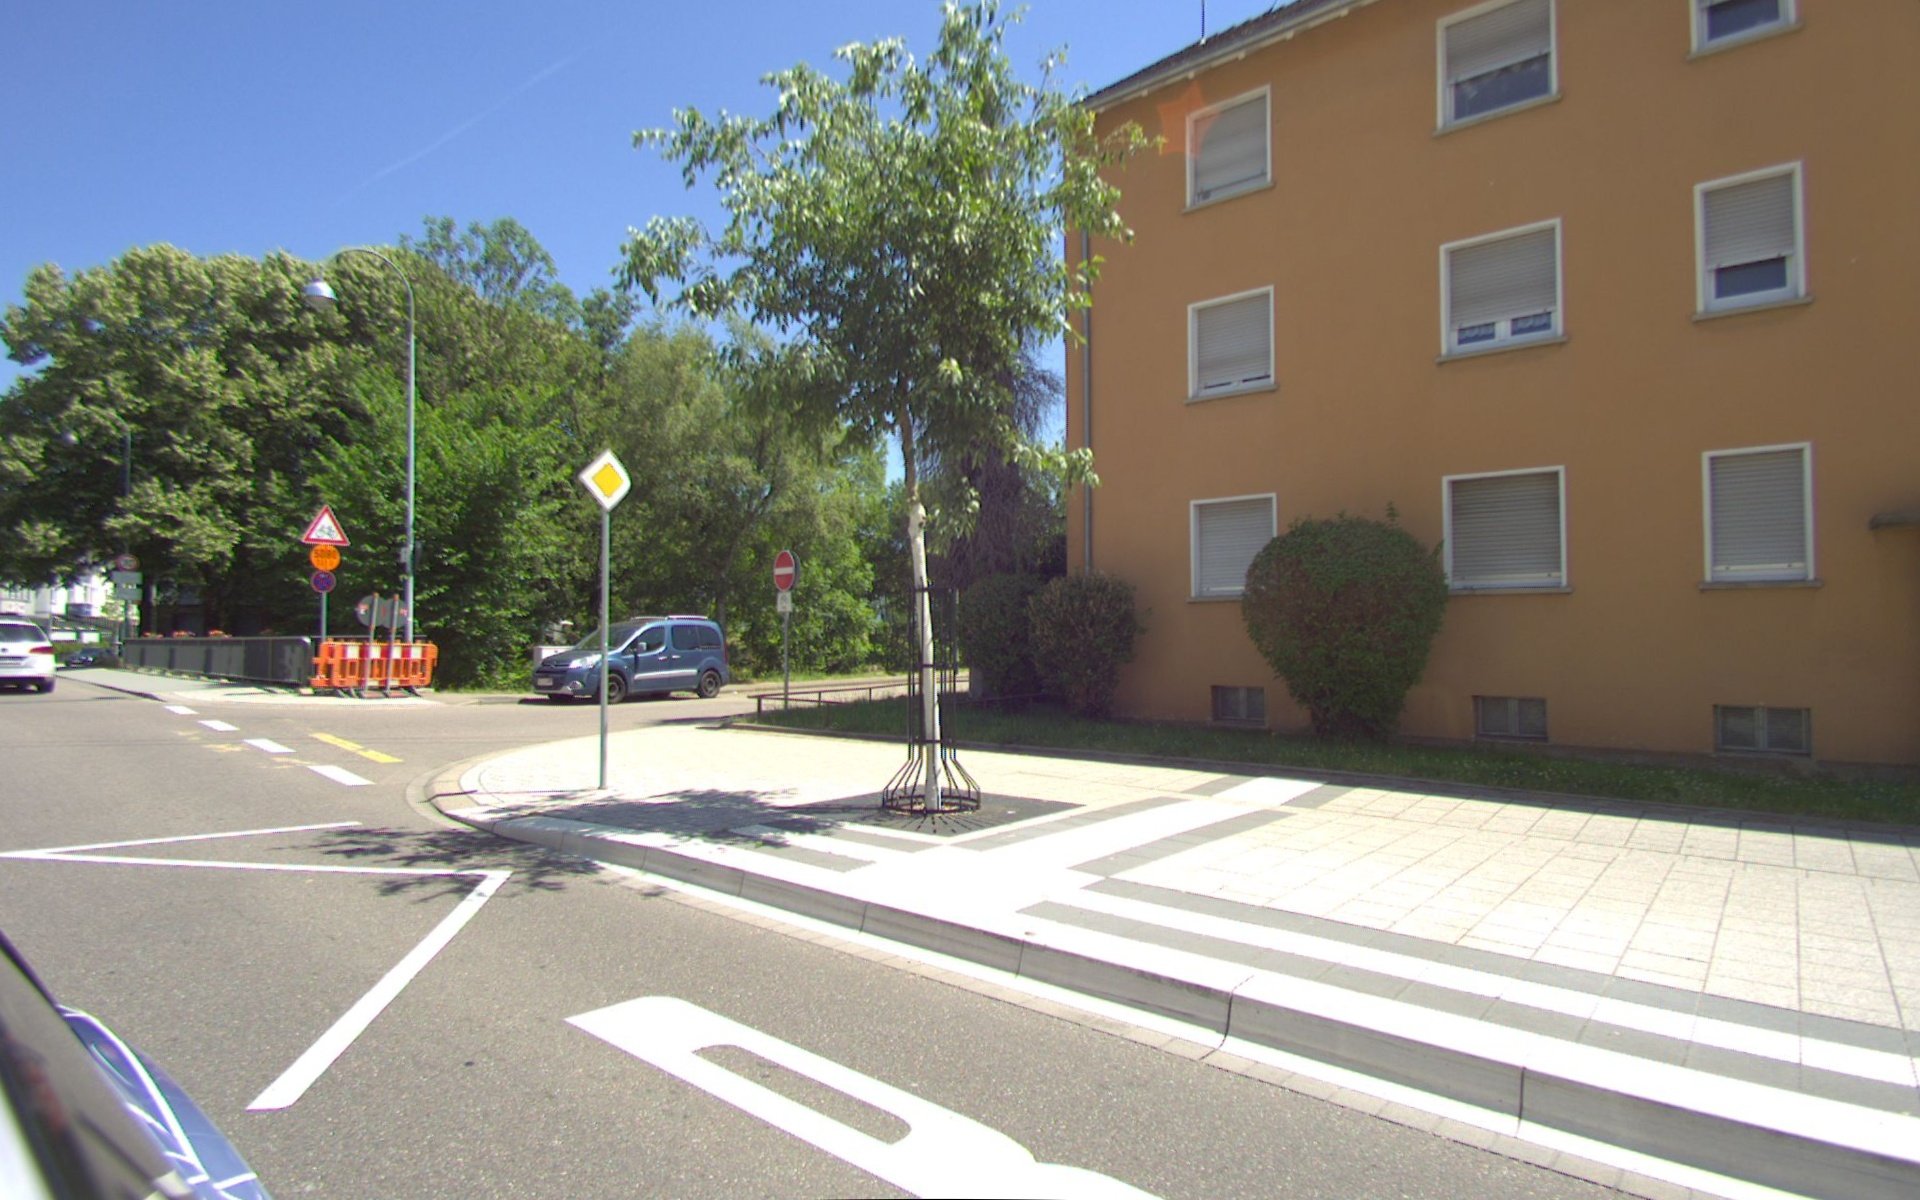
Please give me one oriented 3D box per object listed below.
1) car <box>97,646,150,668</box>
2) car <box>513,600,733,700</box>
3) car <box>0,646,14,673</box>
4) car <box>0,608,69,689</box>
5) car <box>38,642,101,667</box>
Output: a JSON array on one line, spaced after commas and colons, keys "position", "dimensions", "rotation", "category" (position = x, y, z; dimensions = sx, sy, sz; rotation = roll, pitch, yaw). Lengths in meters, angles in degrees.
[{"position": [-67.367, 4.557, 81.571], "dimensions": [1.965, 1.697, 4.013], "rotation": [1, -2, -20], "category": "car"}, {"position": [-7.044, 1.077, 21.641], "dimensions": [1.812, 1.888, 4.392], "rotation": [-2, -4, 30], "category": "car"}, {"position": [-62.879, 3.737, 64.204], "dimensions": [1.971, 1.729, 4.001], "rotation": [0, -6, -2], "category": "car"}, {"position": [-19.695, 0.970, 20.527], "dimensions": [4.287, 1.518, 1.972], "rotation": [-2, -2, 42], "category": "car"}, {"position": [-65.596, 4.048, 74.554], "dimensions": [3.976, 1.729, 1.983], "rotation": [-2, -4, 25], "category": "car"}]
